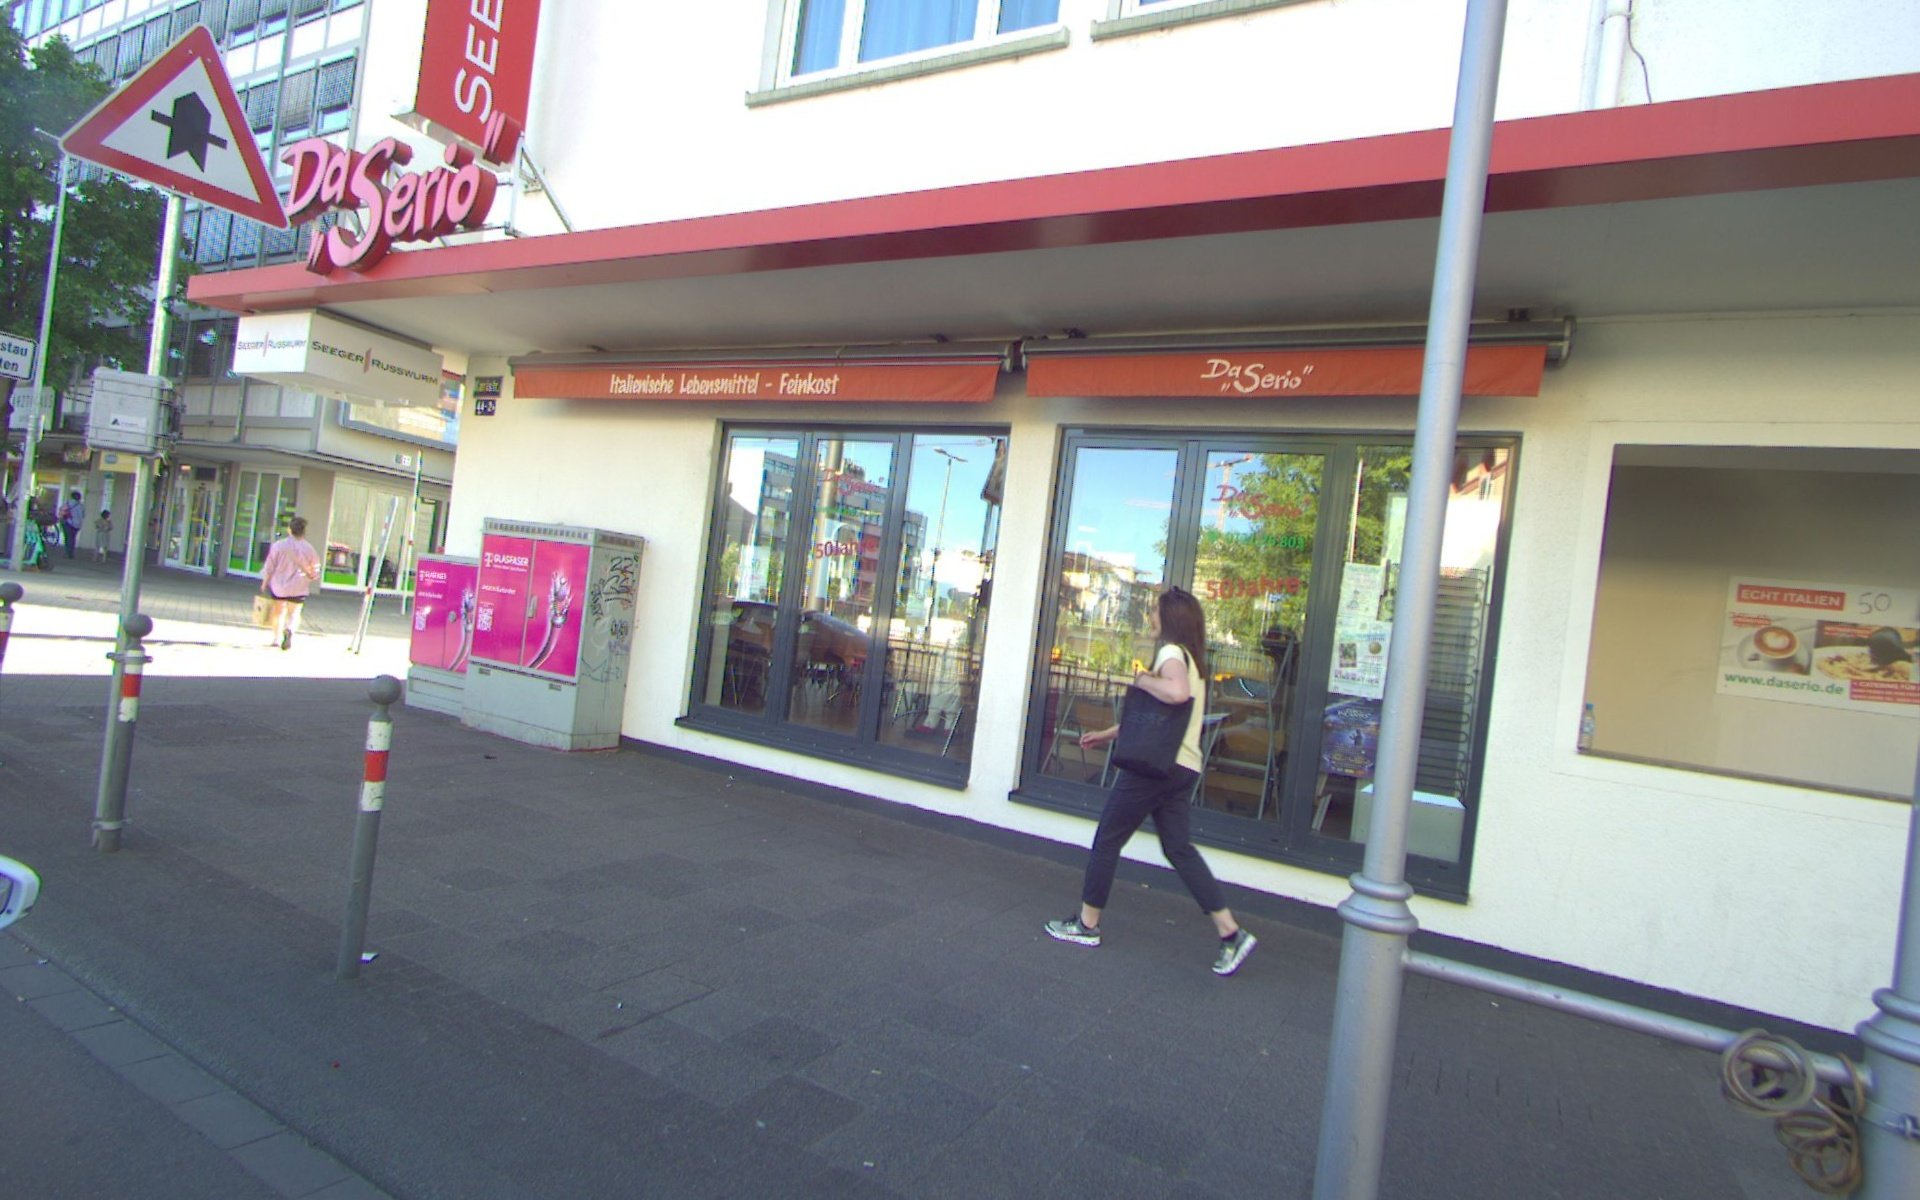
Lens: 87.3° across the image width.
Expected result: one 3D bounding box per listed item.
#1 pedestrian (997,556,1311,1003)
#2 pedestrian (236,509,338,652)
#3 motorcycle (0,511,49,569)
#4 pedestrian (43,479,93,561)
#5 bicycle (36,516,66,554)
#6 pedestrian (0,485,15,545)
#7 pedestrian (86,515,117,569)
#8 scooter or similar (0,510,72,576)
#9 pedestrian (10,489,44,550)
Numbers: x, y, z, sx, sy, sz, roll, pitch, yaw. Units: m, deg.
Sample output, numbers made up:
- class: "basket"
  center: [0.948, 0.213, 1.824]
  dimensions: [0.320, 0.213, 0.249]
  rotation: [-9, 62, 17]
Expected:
- class: "pedestrian"
  center: [0.946, 0.767, 4.799]
  dimensions: [1.021, 1.773, 0.915]
  rotation: [7, 0, 31]
- class: "pedestrian"
  center: [-8.680, -0.239, 12.990]
  dimensions: [0.884, 1.687, 0.801]
  rotation: [8, -1, -35]
- class: "motorcycle"
  center: [-21.564, -1.411, 22.406]
  dimensions: [0.532, 1.186, 1.711]
  rotation: [7, -2, 30]
- class: "pedestrian"
  center: [-23.250, -2.084, 26.223]
  dimensions: [0.570, 2.037, 0.663]
  rotation: [6, -1, 34]
- class: "bicycle"
  center: [-27.232, -1.956, 30.142]
  dimensions: [1.237, 1.046, 0.332]
  rotation: [6, -1, 36]
- class: "pedestrian"
  center: [-27.992, -2.492, 29.035]
  dimensions: [0.764, 1.681, 0.701]
  rotation: [6, -1, 32]
- class: "pedestrian"
  center: [-22.826, -1.546, 26.751]
  dimensions: [0.504, 1.359, 0.390]
  rotation: [6, -1, 34]
- class: "scooter or similar"
  center: [-19.935, -1.232, 21.176]
  dimensions: [1.628, 1.229, 0.640]
  rotation: [8, -1, -29]
- class: "pedestrian"
  center: [-27.745, -2.402, 29.928]
  dimensions: [0.397, 1.730, 0.526]
  rotation: [6, -1, 37]
